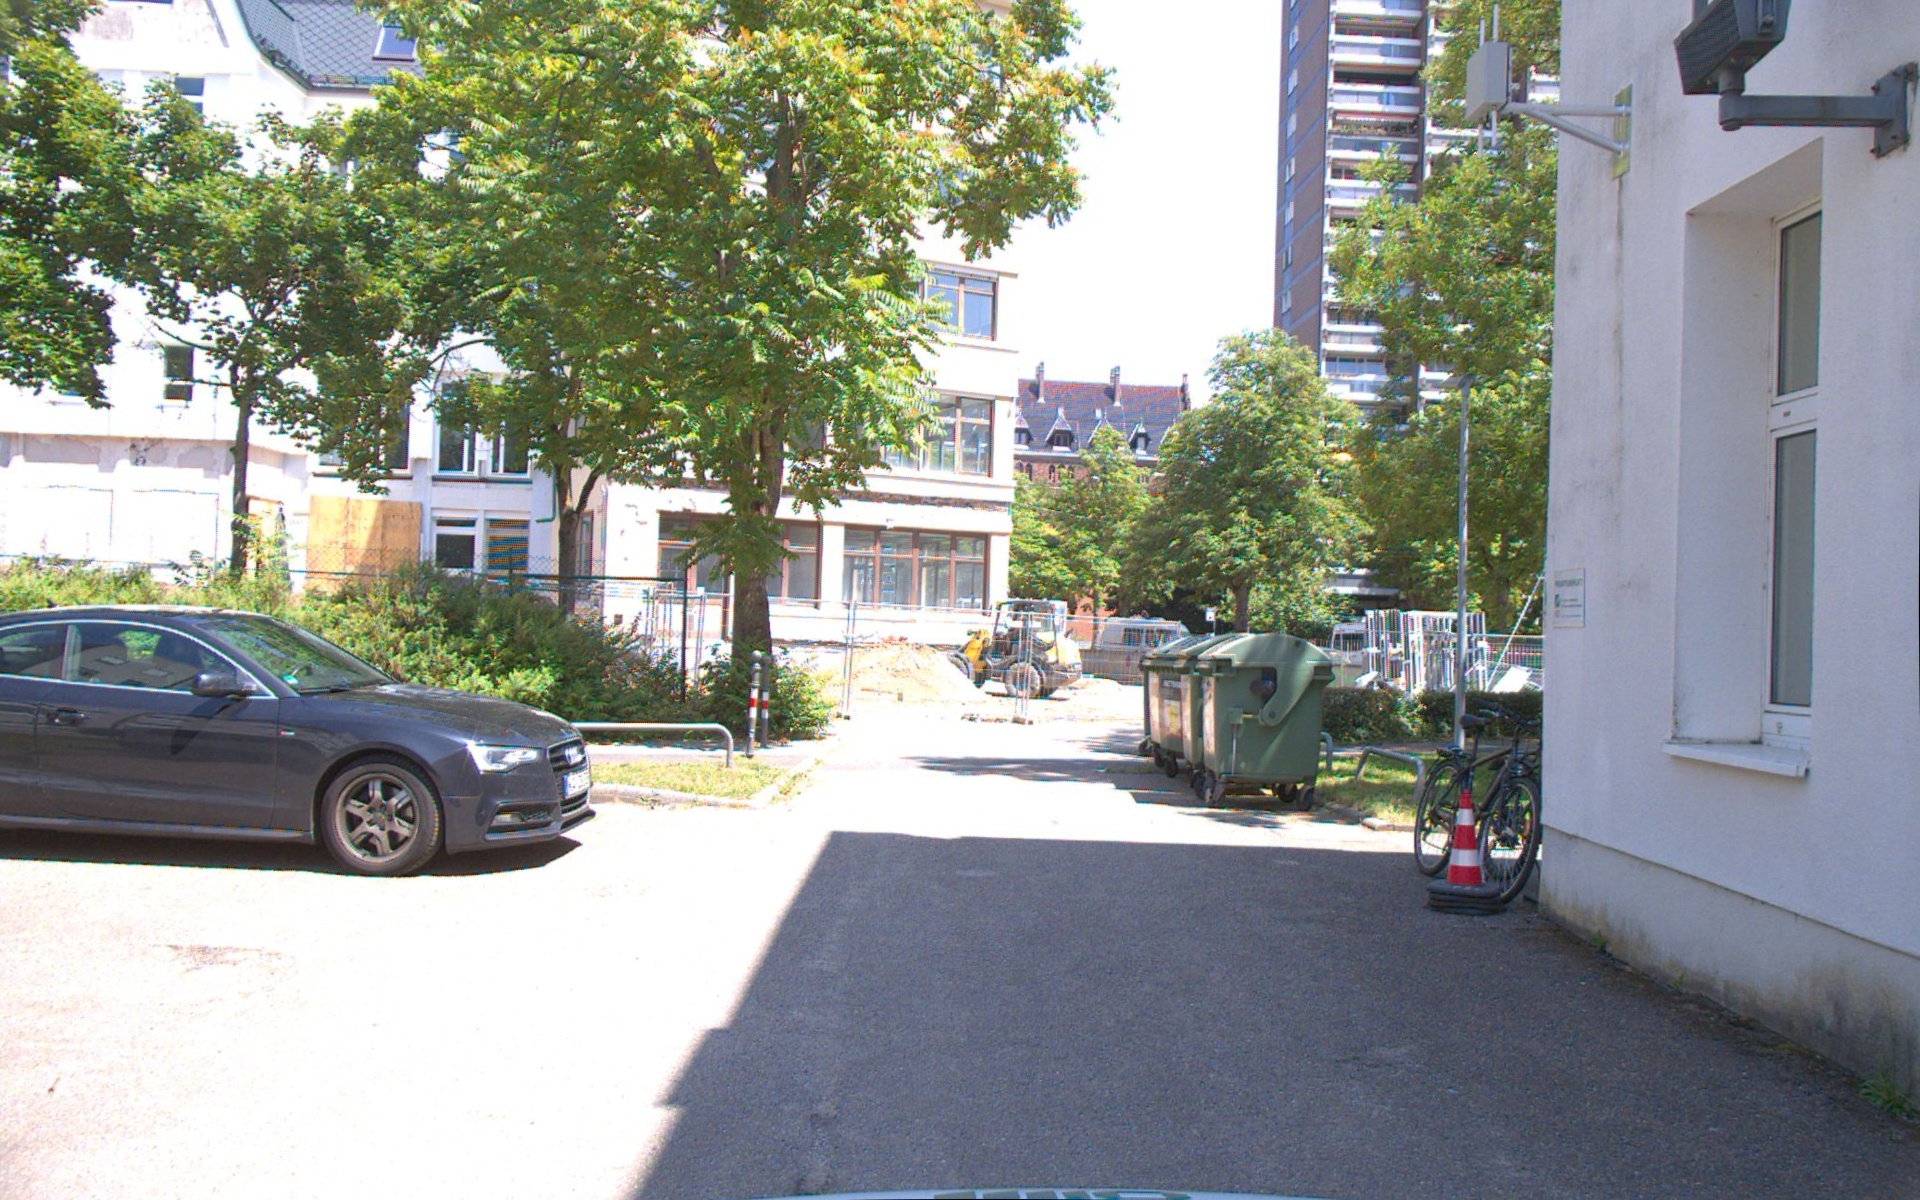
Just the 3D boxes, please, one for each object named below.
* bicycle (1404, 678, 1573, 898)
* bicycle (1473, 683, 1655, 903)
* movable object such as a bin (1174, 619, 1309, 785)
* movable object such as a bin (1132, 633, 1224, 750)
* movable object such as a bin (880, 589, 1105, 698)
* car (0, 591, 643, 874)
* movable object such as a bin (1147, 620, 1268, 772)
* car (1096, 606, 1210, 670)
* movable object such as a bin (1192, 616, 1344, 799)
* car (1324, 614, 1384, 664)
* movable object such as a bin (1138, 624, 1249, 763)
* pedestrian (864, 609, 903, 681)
[{"bbox_3d":[3.060,1.042,9.715,0.396,1.121,1.826,1,-2,0],"label":"bicycle"},{"bbox_3d":[3.518,1.079,9.768,0.396,1.121,1.826,1,-2,0],"label":"bicycle"},{"bbox_3d":[2.661,0.944,15.786,1.053,1.483,1.377,1,-2,1],"label":"movable object such as a bin"},{"bbox_3d":[2.903,1.206,22.183,1.053,1.483,1.377,1,-2,1],"label":"movable object such as a bin"},{"bbox_3d":[0.832,1.110,43.285,5.301,2.507,2.364,3,-1,29],"label":"movable object such as a bin"},{"bbox_3d":[-4.276,0.702,9.758,4.337,1.404,2.024,2,-2,2],"label":"car"},{"bbox_3d":[2.557,0.979,17.258,1.053,1.483,1.377,1,-2,1],"label":"movable object such as a bin"},{"bbox_3d":[7.825,1.540,67.451,1.971,2.459,5.193,2,-2,-28],"label":"car"},{"bbox_3d":[2.638,0.906,14.344,1.053,1.483,1.377,1,-2,1],"label":"movable object such as a bin"},{"bbox_3d":[18.978,1.885,79.444,2.139,2.298,4.868,1,-2,21],"label":"car"},{"bbox_3d":[2.615,1.033,18.679,1.053,1.483,1.377,1,-2,1],"label":"movable object such as a bin"},{"bbox_3d":[-2.047,1.208,44.273,0.897,1.879,0.984,2,-2,-9],"label":"pedestrian"}]
